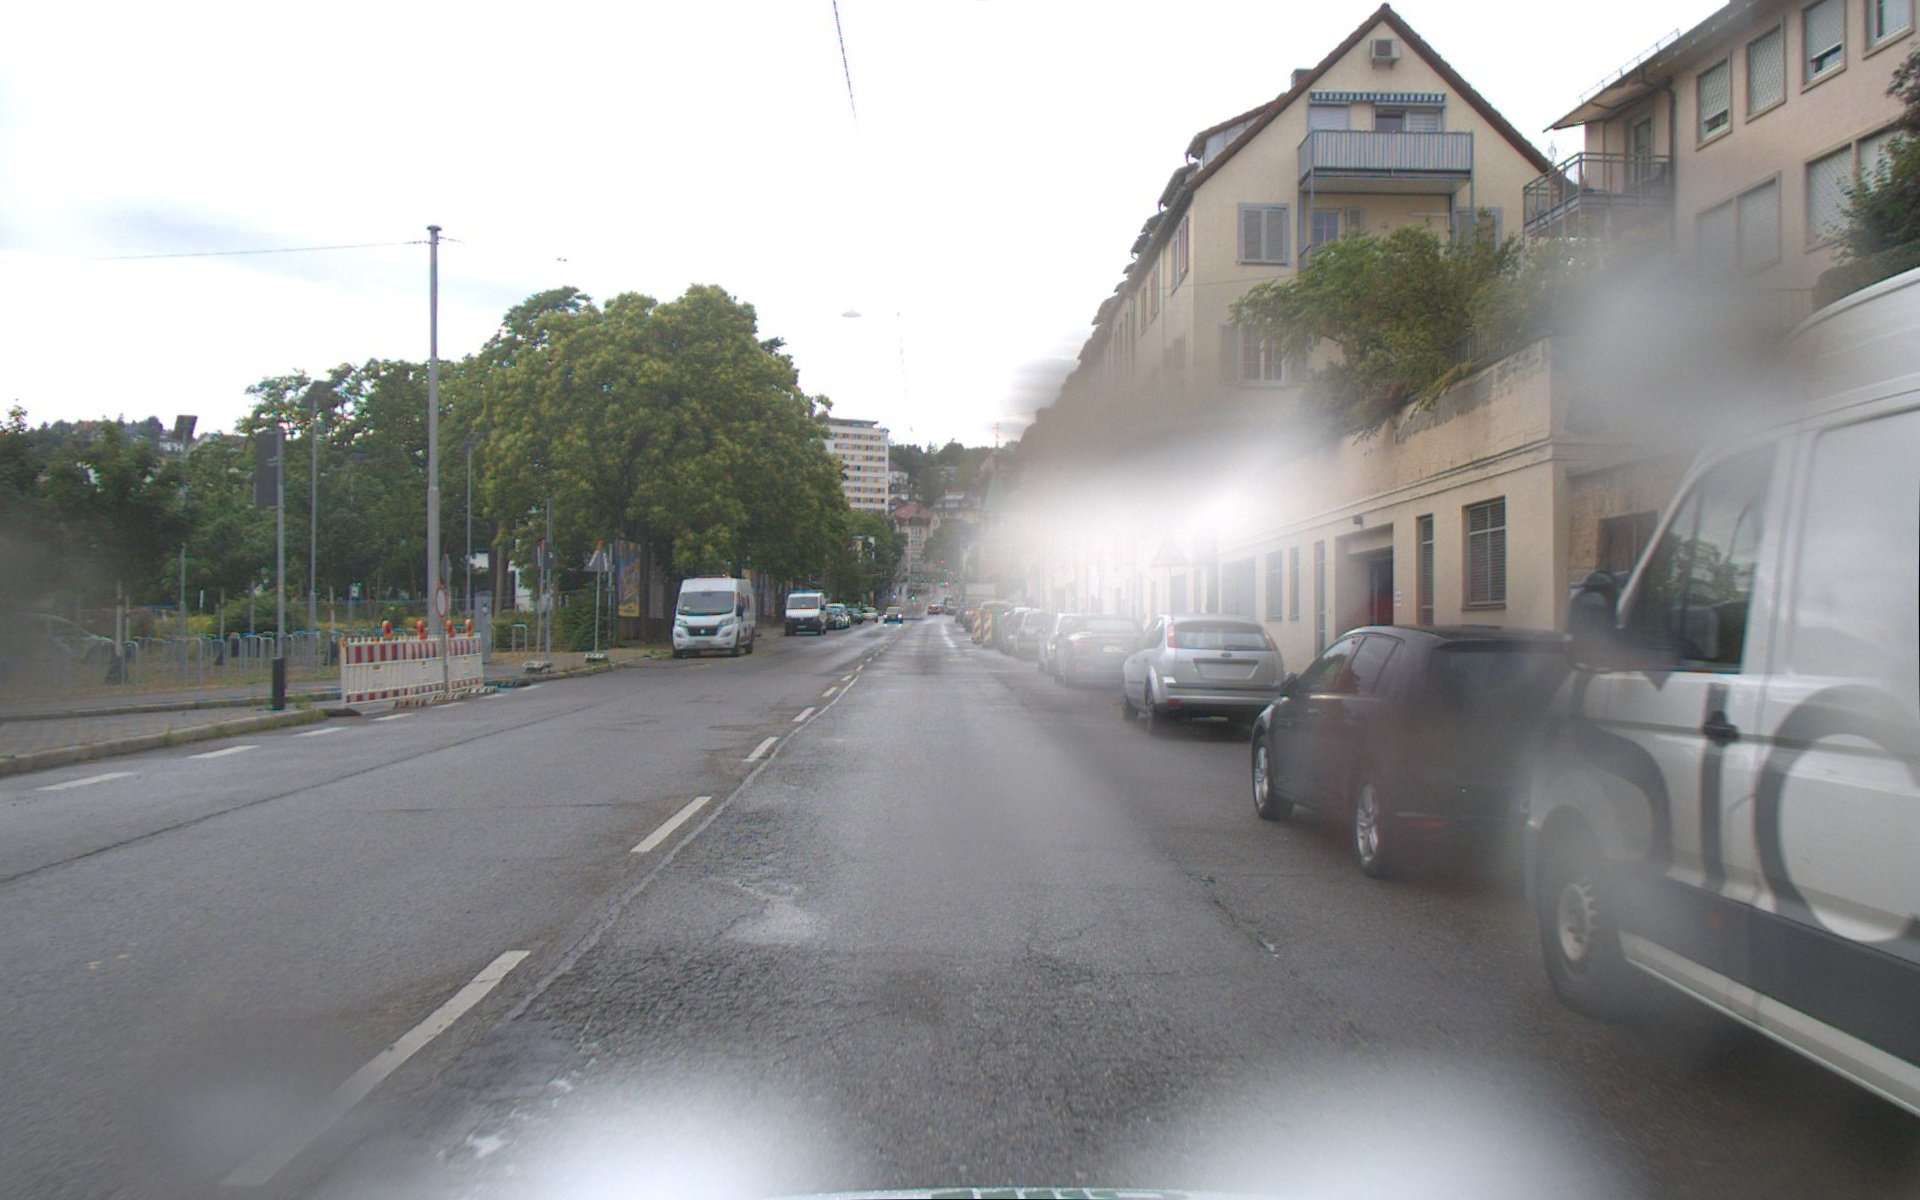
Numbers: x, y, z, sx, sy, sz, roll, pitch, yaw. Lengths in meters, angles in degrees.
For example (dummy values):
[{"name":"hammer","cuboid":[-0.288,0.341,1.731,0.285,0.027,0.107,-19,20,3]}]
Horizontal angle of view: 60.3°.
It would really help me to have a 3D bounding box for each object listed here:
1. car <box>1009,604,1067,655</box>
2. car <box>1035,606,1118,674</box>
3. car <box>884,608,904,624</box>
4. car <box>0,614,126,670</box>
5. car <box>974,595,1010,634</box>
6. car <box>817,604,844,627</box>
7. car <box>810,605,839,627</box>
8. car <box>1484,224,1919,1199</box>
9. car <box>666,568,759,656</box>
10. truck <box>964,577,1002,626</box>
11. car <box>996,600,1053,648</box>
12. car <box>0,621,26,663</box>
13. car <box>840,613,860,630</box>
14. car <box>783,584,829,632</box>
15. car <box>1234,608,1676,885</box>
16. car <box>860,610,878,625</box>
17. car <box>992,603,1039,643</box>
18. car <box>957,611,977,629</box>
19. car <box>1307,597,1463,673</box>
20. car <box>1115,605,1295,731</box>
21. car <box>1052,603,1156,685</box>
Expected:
[{"name":"car","cuboid":[2.410,0.898,51.833,1.527,1.479,3.758,1,0,-2]},{"name":"car","cuboid":[2.740,0.922,39.511,1.596,1.479,3.758,1,0,-2]},{"name":"car","cuboid":[-6.175,1.497,154.425,1.769,1.440,4.380,0,-1,-3]},{"name":"car","cuboid":[-32.408,1.464,58.652,1.963,1.866,4.667,-1,0,40]},{"name":"car","cuboid":[1.648,0.744,86.672,1.780,1.958,4.238,-1,0,0]},{"name":"car","cuboid":[-8.949,1.091,114.697,1.648,1.488,4.275,-1,-1,-2]},{"name":"car","cuboid":[-8.826,1.058,107.658,1.648,1.423,3.908,-1,-1,-2]},{"name":"car","cuboid":[3.526,0.310,4.503,2.160,2.506,6.079,1,0,-1]},{"name":"car","cuboid":[-7.931,0.382,53.660,2.185,2.624,6.535,-2,0,-2]},{"name":"truck","cuboid":[1.511,0.162,112.899,2.419,3.228,7.034,0,-1,-1]},{"name":"car","cuboid":[2.205,0.804,57.250,1.681,1.551,3.999,1,0,-2]},{"name":"car","cuboid":[-39.501,1.695,65.519,1.767,1.654,3.978,-1,0,40]},{"name":"car","cuboid":[-9.877,1.942,148.616,1.767,1.476,4.654,-1,-1,-3]},{"name":"car","cuboid":[-8.571,0.435,92.402,1.971,2.531,5.982,-1,0,0]},{"name":"car","cuboid":[3.129,0.834,11.387,1.654,1.479,4.234,1,0,-2]},{"name":"car","cuboid":[-9.006,1.726,163.924,1.675,1.476,4.292,-1,-1,-2]},{"name":"car","cuboid":[2.095,0.841,62.841,1.593,1.435,3.841,1,0,-1]},{"name":"car","cuboid":[0.632,1.900,158.312,1.781,1.681,4.075,2,0,-1]},{"name":"car","cuboid":[8.511,0.688,33.513,1.849,1.425,4.200,1,-1,-4]},{"name":"car","cuboid":[3.171,0.889,22.141,1.654,1.479,4.233,1,-2,-2]},{"name":"car","cuboid":[2.793,0.820,32.770,1.596,1.479,3.758,1,0,-2]}]
